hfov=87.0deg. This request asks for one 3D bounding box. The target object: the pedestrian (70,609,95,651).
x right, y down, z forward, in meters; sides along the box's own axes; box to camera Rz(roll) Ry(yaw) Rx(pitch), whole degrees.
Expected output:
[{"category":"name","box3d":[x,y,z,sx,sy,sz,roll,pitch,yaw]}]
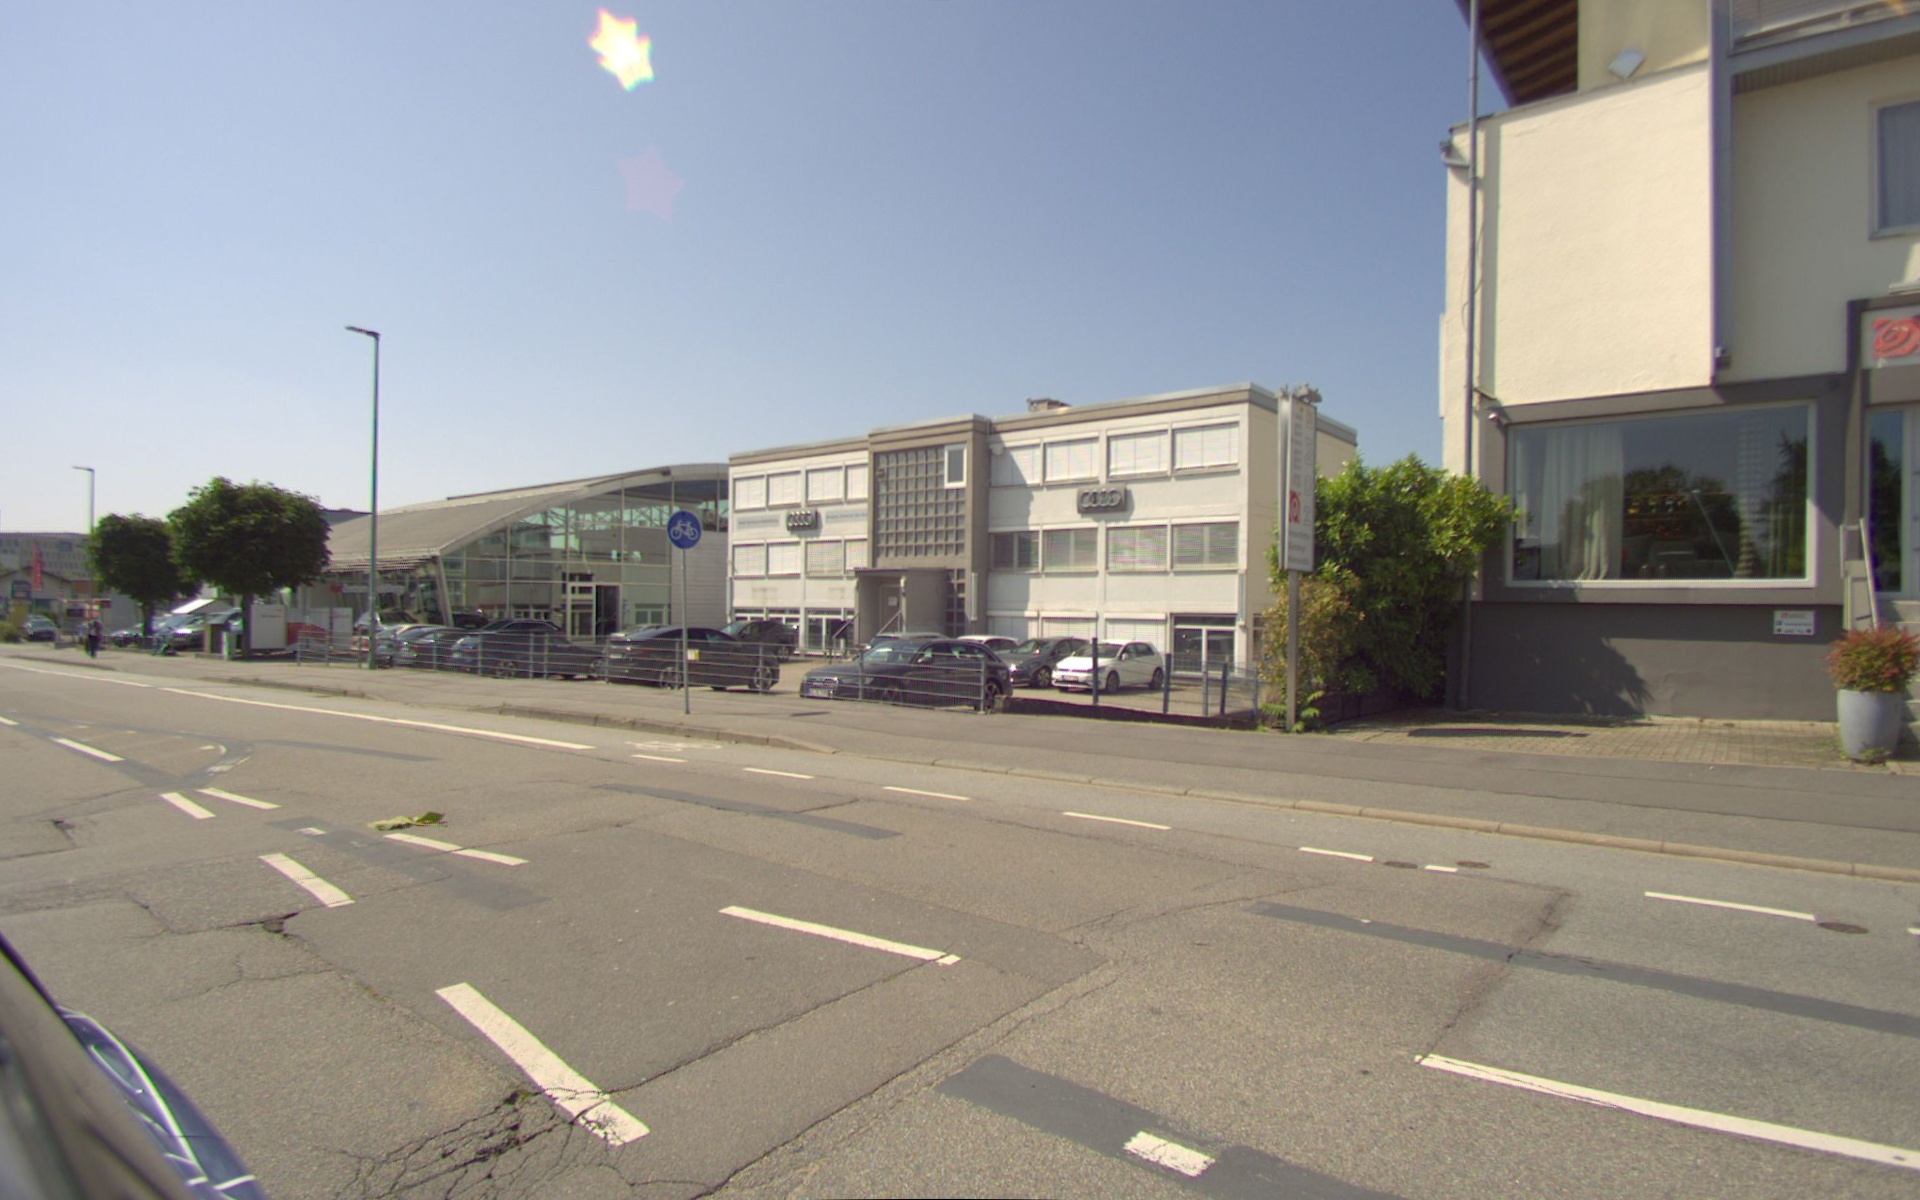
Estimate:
[{"category":"pedestrian","box3d":[-39.834,1.367,45.931,0.910,1.862,0.716,-1,-2,39]}]

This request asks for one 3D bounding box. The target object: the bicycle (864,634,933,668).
[{"category":"bicycle","box3d":[-2.267,1.844,37.096,2.572,1.187,0.917,-1,-1,38]}]

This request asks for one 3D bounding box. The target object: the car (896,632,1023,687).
[{"category":"car","box3d":[0.050,1.815,31.817,1.816,1.413,3.944,2,1,42]}]

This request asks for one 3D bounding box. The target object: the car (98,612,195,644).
[{"category":"car","box3d":[-42.208,1.437,52.636,1.879,1.470,4.165,-1,0,-4]}]

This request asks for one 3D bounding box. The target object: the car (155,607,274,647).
[{"category":"car","box3d":[-33.568,1.177,45.768,1.835,1.709,4.575,-1,0,4]}]

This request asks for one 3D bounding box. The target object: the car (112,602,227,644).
[{"category":"car","box3d":[-39.619,1.102,50.882,1.940,1.620,4.479,-5,2,4]}]

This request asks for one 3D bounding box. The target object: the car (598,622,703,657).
[{"category":"car","box3d":[-13.200,1.666,43.356,1.857,1.369,3.948,-1,-1,39]}]

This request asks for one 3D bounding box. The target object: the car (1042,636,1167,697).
[{"category":"car","box3d":[4.203,1.833,28.963,1.856,1.472,3.949,-1,0,38]}]

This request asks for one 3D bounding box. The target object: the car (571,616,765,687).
[{"category":"car","box3d":[-7.012,1.171,24.664,1.991,1.570,4.259,-1,-1,35]}]

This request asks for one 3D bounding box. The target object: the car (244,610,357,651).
[{"category":"car","box3d":[-27.673,1.246,42.637,1.838,1.562,3.990,-1,0,8]}]

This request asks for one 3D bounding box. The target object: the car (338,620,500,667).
[{"category":"car","box3d":[-18.218,1.409,34.252,1.897,1.468,4.482,-1,-1,37]}]

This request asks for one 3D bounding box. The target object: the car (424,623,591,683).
[{"category":"car","box3d":[-12.822,1.444,28.861,1.855,1.501,3.952,2,0,35]}]

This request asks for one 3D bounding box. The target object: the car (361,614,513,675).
[{"category":"car","box3d":[-16.499,1.342,32.085,1.821,1.455,3.854,2,5,38]}]

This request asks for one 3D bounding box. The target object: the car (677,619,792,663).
[{"category":"car","box3d":[-8.811,1.557,39.847,1.855,1.565,4.315,-1,-1,36]}]

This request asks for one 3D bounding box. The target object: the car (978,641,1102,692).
[{"category":"car","box3d":[2.463,1.951,30.446,1.856,1.274,3.949,-1,0,38]}]

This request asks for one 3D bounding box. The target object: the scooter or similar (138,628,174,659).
[{"category":"scooter or similar","box3d":[-33.533,1.817,42.209,1.485,1.257,0.738,-1,-1,32]}]

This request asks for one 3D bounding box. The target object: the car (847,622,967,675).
[{"category":"car","box3d":[-1.707,1.562,33.614,1.856,1.557,3.949,-1,0,38]}]

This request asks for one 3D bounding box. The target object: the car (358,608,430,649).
[{"category":"car","box3d":[-25.141,1.241,44.910,1.969,1.696,4.005,0,-1,-42]}]

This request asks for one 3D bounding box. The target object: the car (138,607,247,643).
[{"category":"car","box3d":[-36.472,1.148,48.220,1.850,1.506,4.199,0,1,4]}]

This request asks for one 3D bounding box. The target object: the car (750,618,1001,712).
[{"category":"car","box3d":[-1.418,1.095,18.806,2.045,1.492,4.694,-1,-1,38]}]

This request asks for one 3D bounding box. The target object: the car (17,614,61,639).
[{"category":"car","box3d":[-64.615,1.840,70.984,3.998,1.728,1.885,-1,-1,42]}]

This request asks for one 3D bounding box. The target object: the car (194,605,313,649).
[{"category":"car","box3d":[-30.738,1.136,44.194,1.886,1.720,4.476,-1,1,4]}]

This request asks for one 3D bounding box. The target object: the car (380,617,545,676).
[{"category":"car","box3d":[-14.829,1.415,30.331,1.856,1.454,3.951,-1,-7,36]}]

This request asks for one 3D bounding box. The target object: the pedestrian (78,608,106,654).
[{"category":"pedestrian","box3d":[-36.223,1.291,42.243,1.047,1.882,0.725,-1,-2,42]}]
